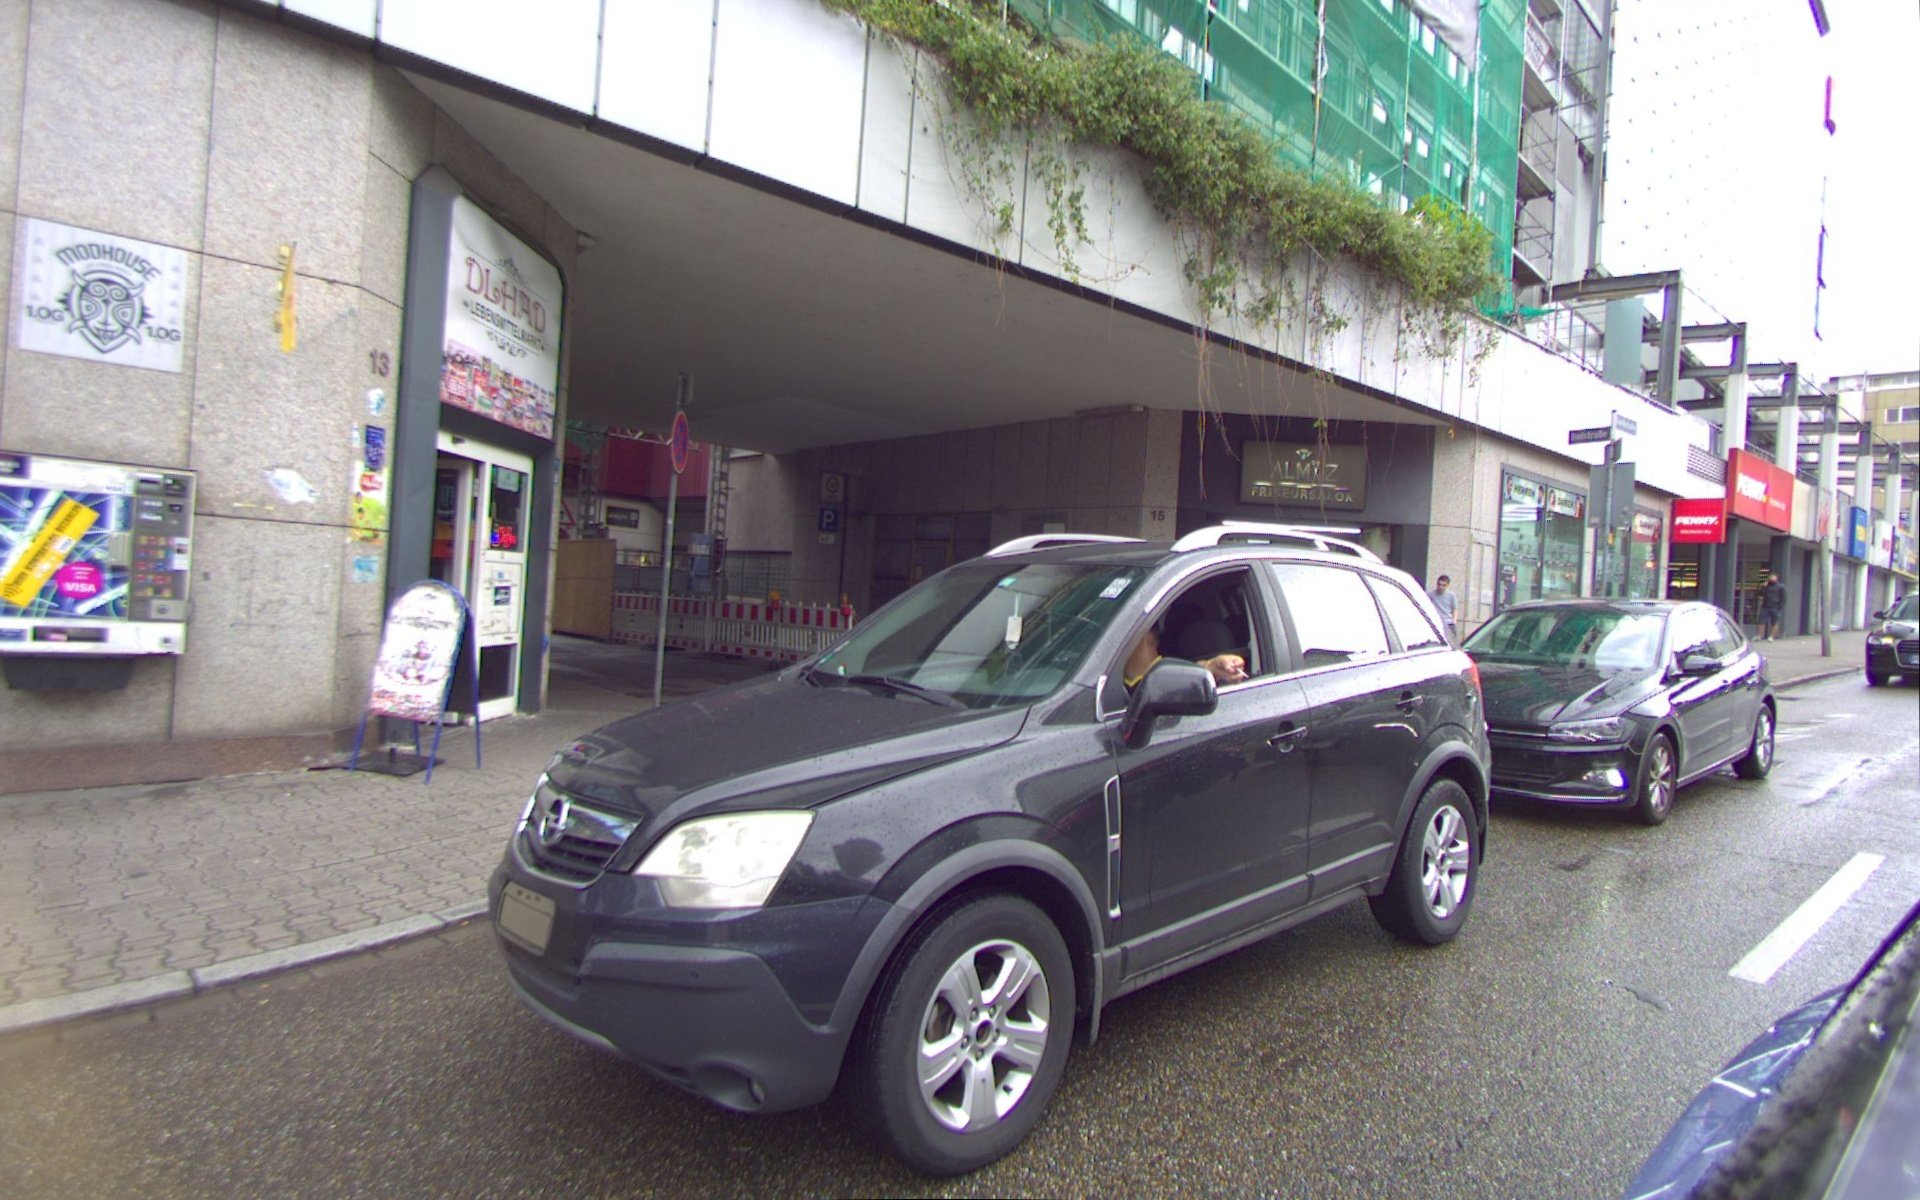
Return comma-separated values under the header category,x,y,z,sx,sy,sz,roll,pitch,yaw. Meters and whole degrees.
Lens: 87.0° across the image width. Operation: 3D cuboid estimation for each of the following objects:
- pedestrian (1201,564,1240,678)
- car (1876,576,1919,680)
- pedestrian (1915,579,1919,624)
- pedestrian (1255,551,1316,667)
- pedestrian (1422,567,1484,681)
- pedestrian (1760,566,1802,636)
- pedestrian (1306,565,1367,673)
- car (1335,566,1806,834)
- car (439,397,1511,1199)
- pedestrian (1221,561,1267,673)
category,x,y,z,sx,sy,sz,roll,pitch,yaw
pedestrian,4.014,0.312,15.599,0.474,1.729,0.467,0,0,1
car,16.818,0.427,16.784,4.089,1.628,1.841,-1,1,-39
pedestrian,32.779,0.067,34.283,0.570,1.519,0.509,-1,3,-42
pedestrian,5.363,0.130,16.720,0.730,1.838,0.773,2,2,3
pedestrian,7.423,0.336,15.232,0.721,1.663,0.637,-1,1,-44
pedestrian,20.361,0.018,25.109,0.499,1.699,0.581,0,2,-19
pedestrian,5.931,0.288,15.970,0.663,1.647,0.581,0,2,-11
car,4.793,0.587,7.721,4.087,1.523,1.759,1,0,-38
car,0.411,0.510,3.997,4.090,1.788,1.763,1,0,-41
pedestrian,4.179,0.239,14.868,0.630,1.615,0.574,0,1,17
